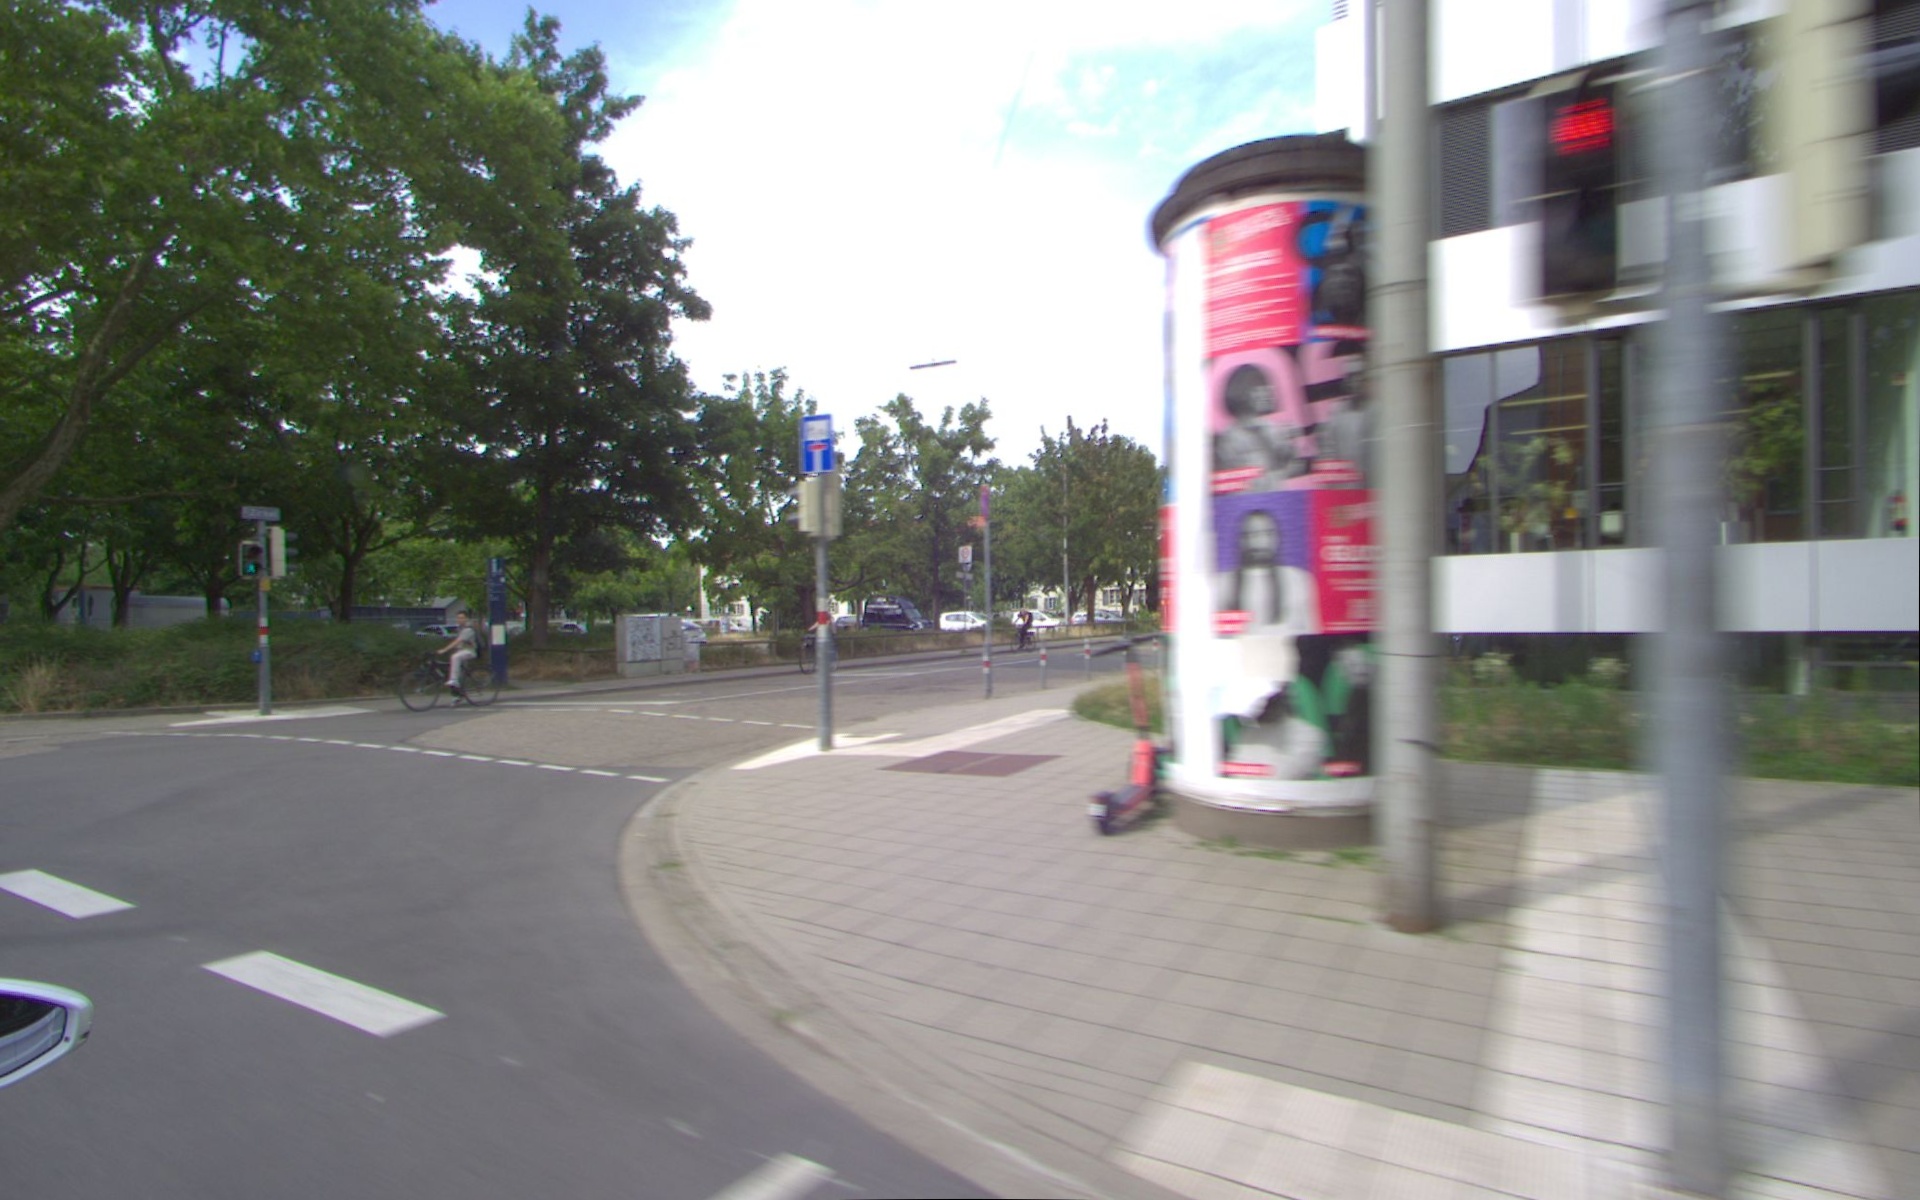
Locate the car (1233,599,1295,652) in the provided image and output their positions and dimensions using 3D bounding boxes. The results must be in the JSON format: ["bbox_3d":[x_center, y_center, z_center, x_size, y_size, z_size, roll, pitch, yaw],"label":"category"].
[{"bbox_3d":[12.329,1.055,40.463,1.966,2.039,3.991,0,-2,23],"label":"car"}]

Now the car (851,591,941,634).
[{"bbox_3d":[-4.155,0.853,65.033,5.414,2.646,2.433,-1,-2,30],"label":"car"}]

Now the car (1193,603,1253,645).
[{"bbox_3d":[9.689,0.914,36.743,1.648,1.462,3.644,0,-2,23],"label":"car"}]

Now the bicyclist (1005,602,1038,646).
[{"bbox_3d":[2.328,0.912,37.759,0.903,1.597,0.827,-2,-1,33],"label":"bicyclist"}]

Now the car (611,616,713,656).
[{"bbox_3d":[-14.288,1.728,48.029,4.701,1.817,1.992,-1,-2,29],"label":"car"}]

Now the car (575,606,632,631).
[{"bbox_3d":[-30.240,1.616,84.880,4.701,2.039,1.992,-1,-2,29],"label":"car"}]

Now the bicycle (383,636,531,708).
[{"bbox_3d":[-9.100,1.272,18.207,0.904,1.187,2.237,-2,-2,37],"label":"bicycle"}]

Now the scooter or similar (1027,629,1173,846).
[{"bbox_3d":[0.949,0.834,6.555,0.340,1.226,1.301,-1,2,36],"label":"scooter or similar"}]

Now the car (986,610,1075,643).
[{"bbox_3d":[4.017,1.532,57.348,4.702,1.817,1.992,-1,-2,30],"label":"car"}]

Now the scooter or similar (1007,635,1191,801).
[{"bbox_3d":[1.034,0.870,7.561,1.285,1.153,0.472,-2,1,-2],"label":"scooter or similar"}]

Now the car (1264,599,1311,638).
[{"bbox_3d":[16.464,0.968,50.208,1.921,1.885,3.871,0,-2,23],"label":"car"}]

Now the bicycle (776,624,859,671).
[{"bbox_3d":[-3.828,1.277,27.061,0.904,1.187,2.237,-2,-2,37],"label":"bicycle"}]

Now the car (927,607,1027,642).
[{"bbox_3d":[0.827,1.252,50.376,4.707,1.651,1.990,-1,-2,34],"label":"car"}]

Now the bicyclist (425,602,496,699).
[{"bbox_3d":[-9.096,0.909,18.239,0.904,1.699,0.826,-2,-1,37],"label":"bicyclist"}]

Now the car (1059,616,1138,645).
[{"bbox_3d":[9.052,2.027,65.472,4.701,1.817,1.992,-1,-2,29],"label":"car"}]

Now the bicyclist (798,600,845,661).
[{"bbox_3d":[-3.763,0.826,27.197,0.904,1.597,0.826,-2,-1,37],"label":"bicyclist"}]

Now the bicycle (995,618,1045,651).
[{"bbox_3d":[2.269,1.288,37.659,0.903,1.187,2.240,-2,-2,33],"label":"bicycle"}]

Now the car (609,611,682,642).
[{"bbox_3d":[-21.358,1.822,67.929,4.699,2.039,1.993,-1,-2,28],"label":"car"}]
